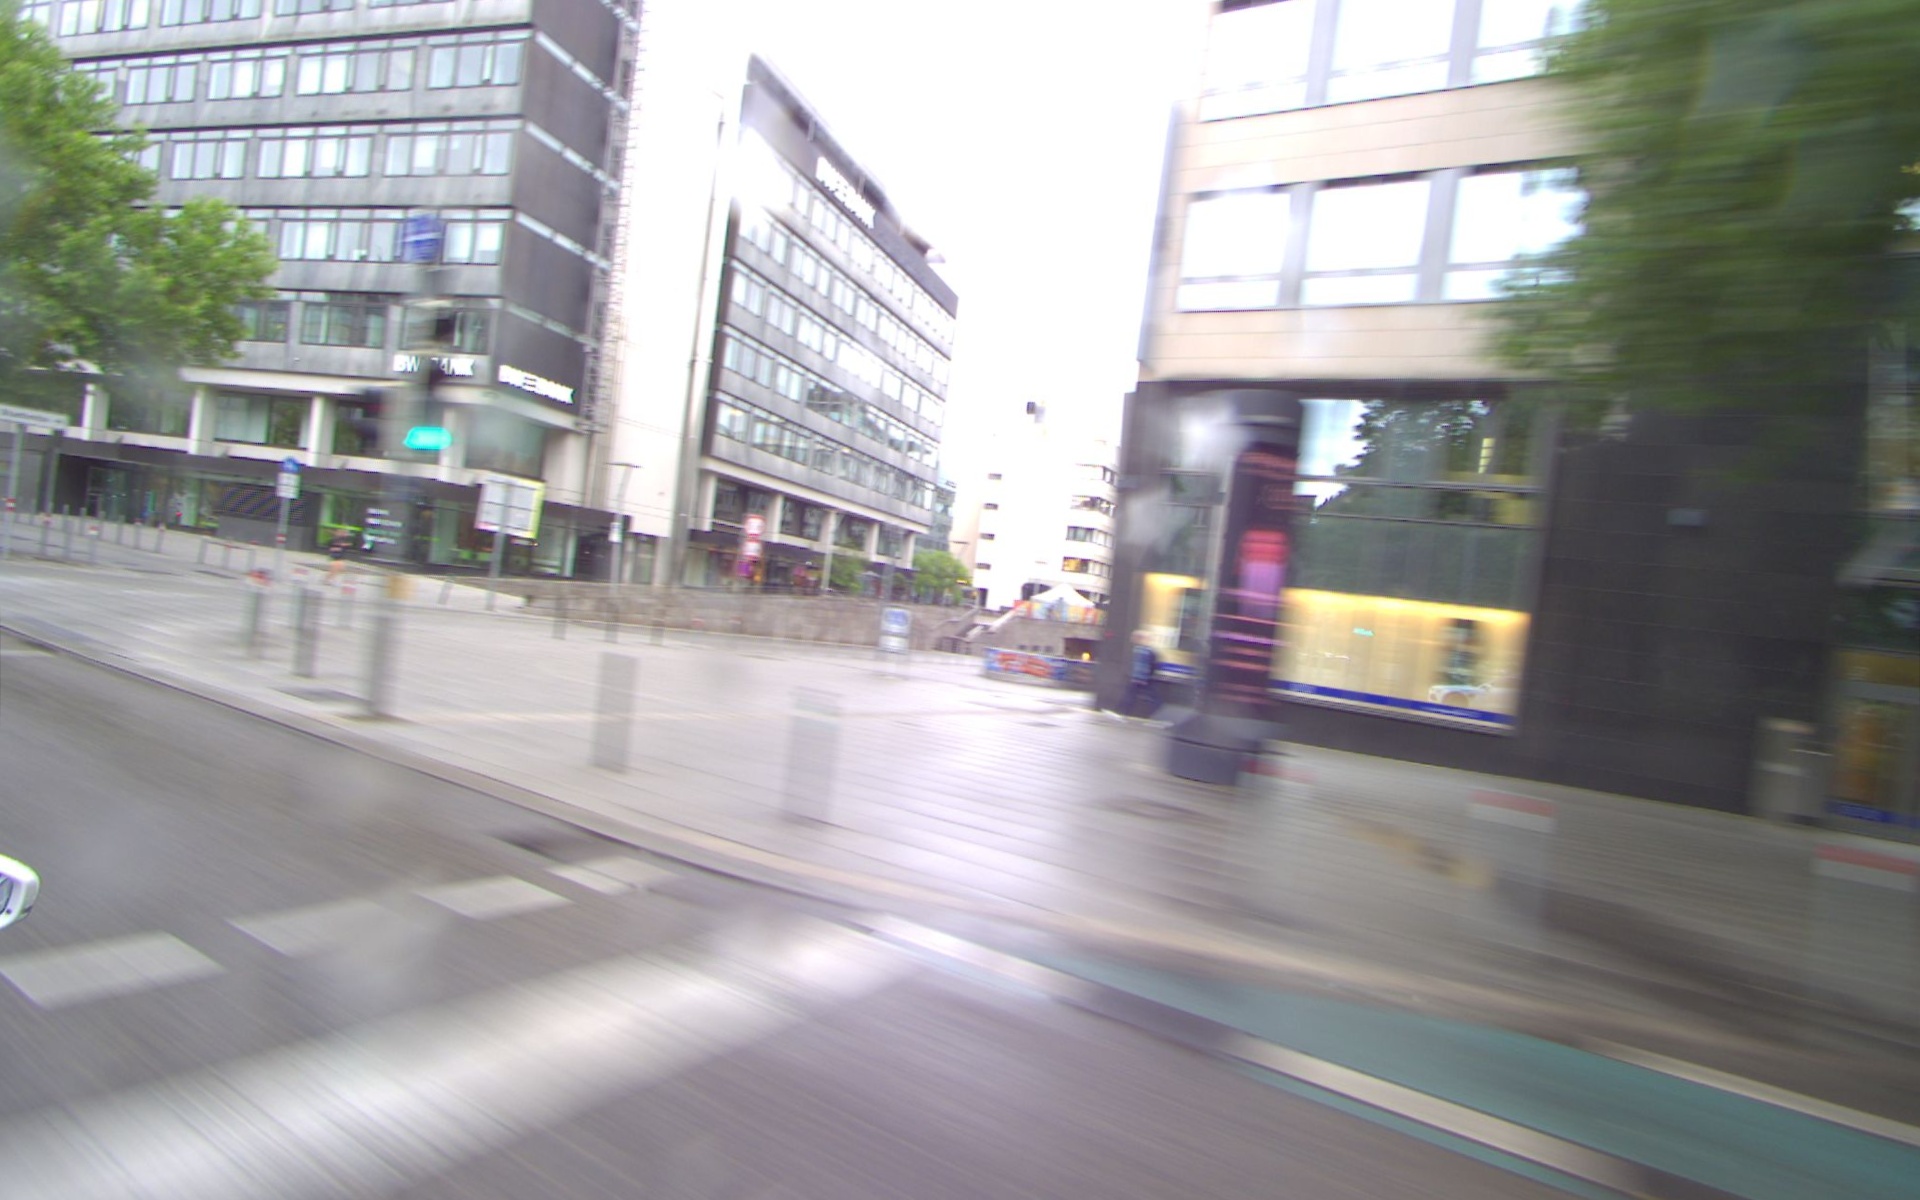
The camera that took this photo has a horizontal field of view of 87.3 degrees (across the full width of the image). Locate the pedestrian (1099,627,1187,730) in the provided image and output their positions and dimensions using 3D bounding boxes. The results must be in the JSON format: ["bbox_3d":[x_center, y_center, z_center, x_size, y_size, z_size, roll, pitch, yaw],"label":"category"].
[{"bbox_3d":[3.667,1.568,20.163,1.259,1.872,0.916,6,-1,42],"label":"pedestrian"}]

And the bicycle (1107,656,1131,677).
[{"bbox_3d":[8.986,3.745,56.727,1.176,1.052,0.350,6,-1,31],"label":"bicycle"}]

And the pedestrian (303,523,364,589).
[{"bbox_3d":[-17.952,-1.264,28.830,1.166,1.716,0.807,7,-1,24],"label":"pedestrian"}]
